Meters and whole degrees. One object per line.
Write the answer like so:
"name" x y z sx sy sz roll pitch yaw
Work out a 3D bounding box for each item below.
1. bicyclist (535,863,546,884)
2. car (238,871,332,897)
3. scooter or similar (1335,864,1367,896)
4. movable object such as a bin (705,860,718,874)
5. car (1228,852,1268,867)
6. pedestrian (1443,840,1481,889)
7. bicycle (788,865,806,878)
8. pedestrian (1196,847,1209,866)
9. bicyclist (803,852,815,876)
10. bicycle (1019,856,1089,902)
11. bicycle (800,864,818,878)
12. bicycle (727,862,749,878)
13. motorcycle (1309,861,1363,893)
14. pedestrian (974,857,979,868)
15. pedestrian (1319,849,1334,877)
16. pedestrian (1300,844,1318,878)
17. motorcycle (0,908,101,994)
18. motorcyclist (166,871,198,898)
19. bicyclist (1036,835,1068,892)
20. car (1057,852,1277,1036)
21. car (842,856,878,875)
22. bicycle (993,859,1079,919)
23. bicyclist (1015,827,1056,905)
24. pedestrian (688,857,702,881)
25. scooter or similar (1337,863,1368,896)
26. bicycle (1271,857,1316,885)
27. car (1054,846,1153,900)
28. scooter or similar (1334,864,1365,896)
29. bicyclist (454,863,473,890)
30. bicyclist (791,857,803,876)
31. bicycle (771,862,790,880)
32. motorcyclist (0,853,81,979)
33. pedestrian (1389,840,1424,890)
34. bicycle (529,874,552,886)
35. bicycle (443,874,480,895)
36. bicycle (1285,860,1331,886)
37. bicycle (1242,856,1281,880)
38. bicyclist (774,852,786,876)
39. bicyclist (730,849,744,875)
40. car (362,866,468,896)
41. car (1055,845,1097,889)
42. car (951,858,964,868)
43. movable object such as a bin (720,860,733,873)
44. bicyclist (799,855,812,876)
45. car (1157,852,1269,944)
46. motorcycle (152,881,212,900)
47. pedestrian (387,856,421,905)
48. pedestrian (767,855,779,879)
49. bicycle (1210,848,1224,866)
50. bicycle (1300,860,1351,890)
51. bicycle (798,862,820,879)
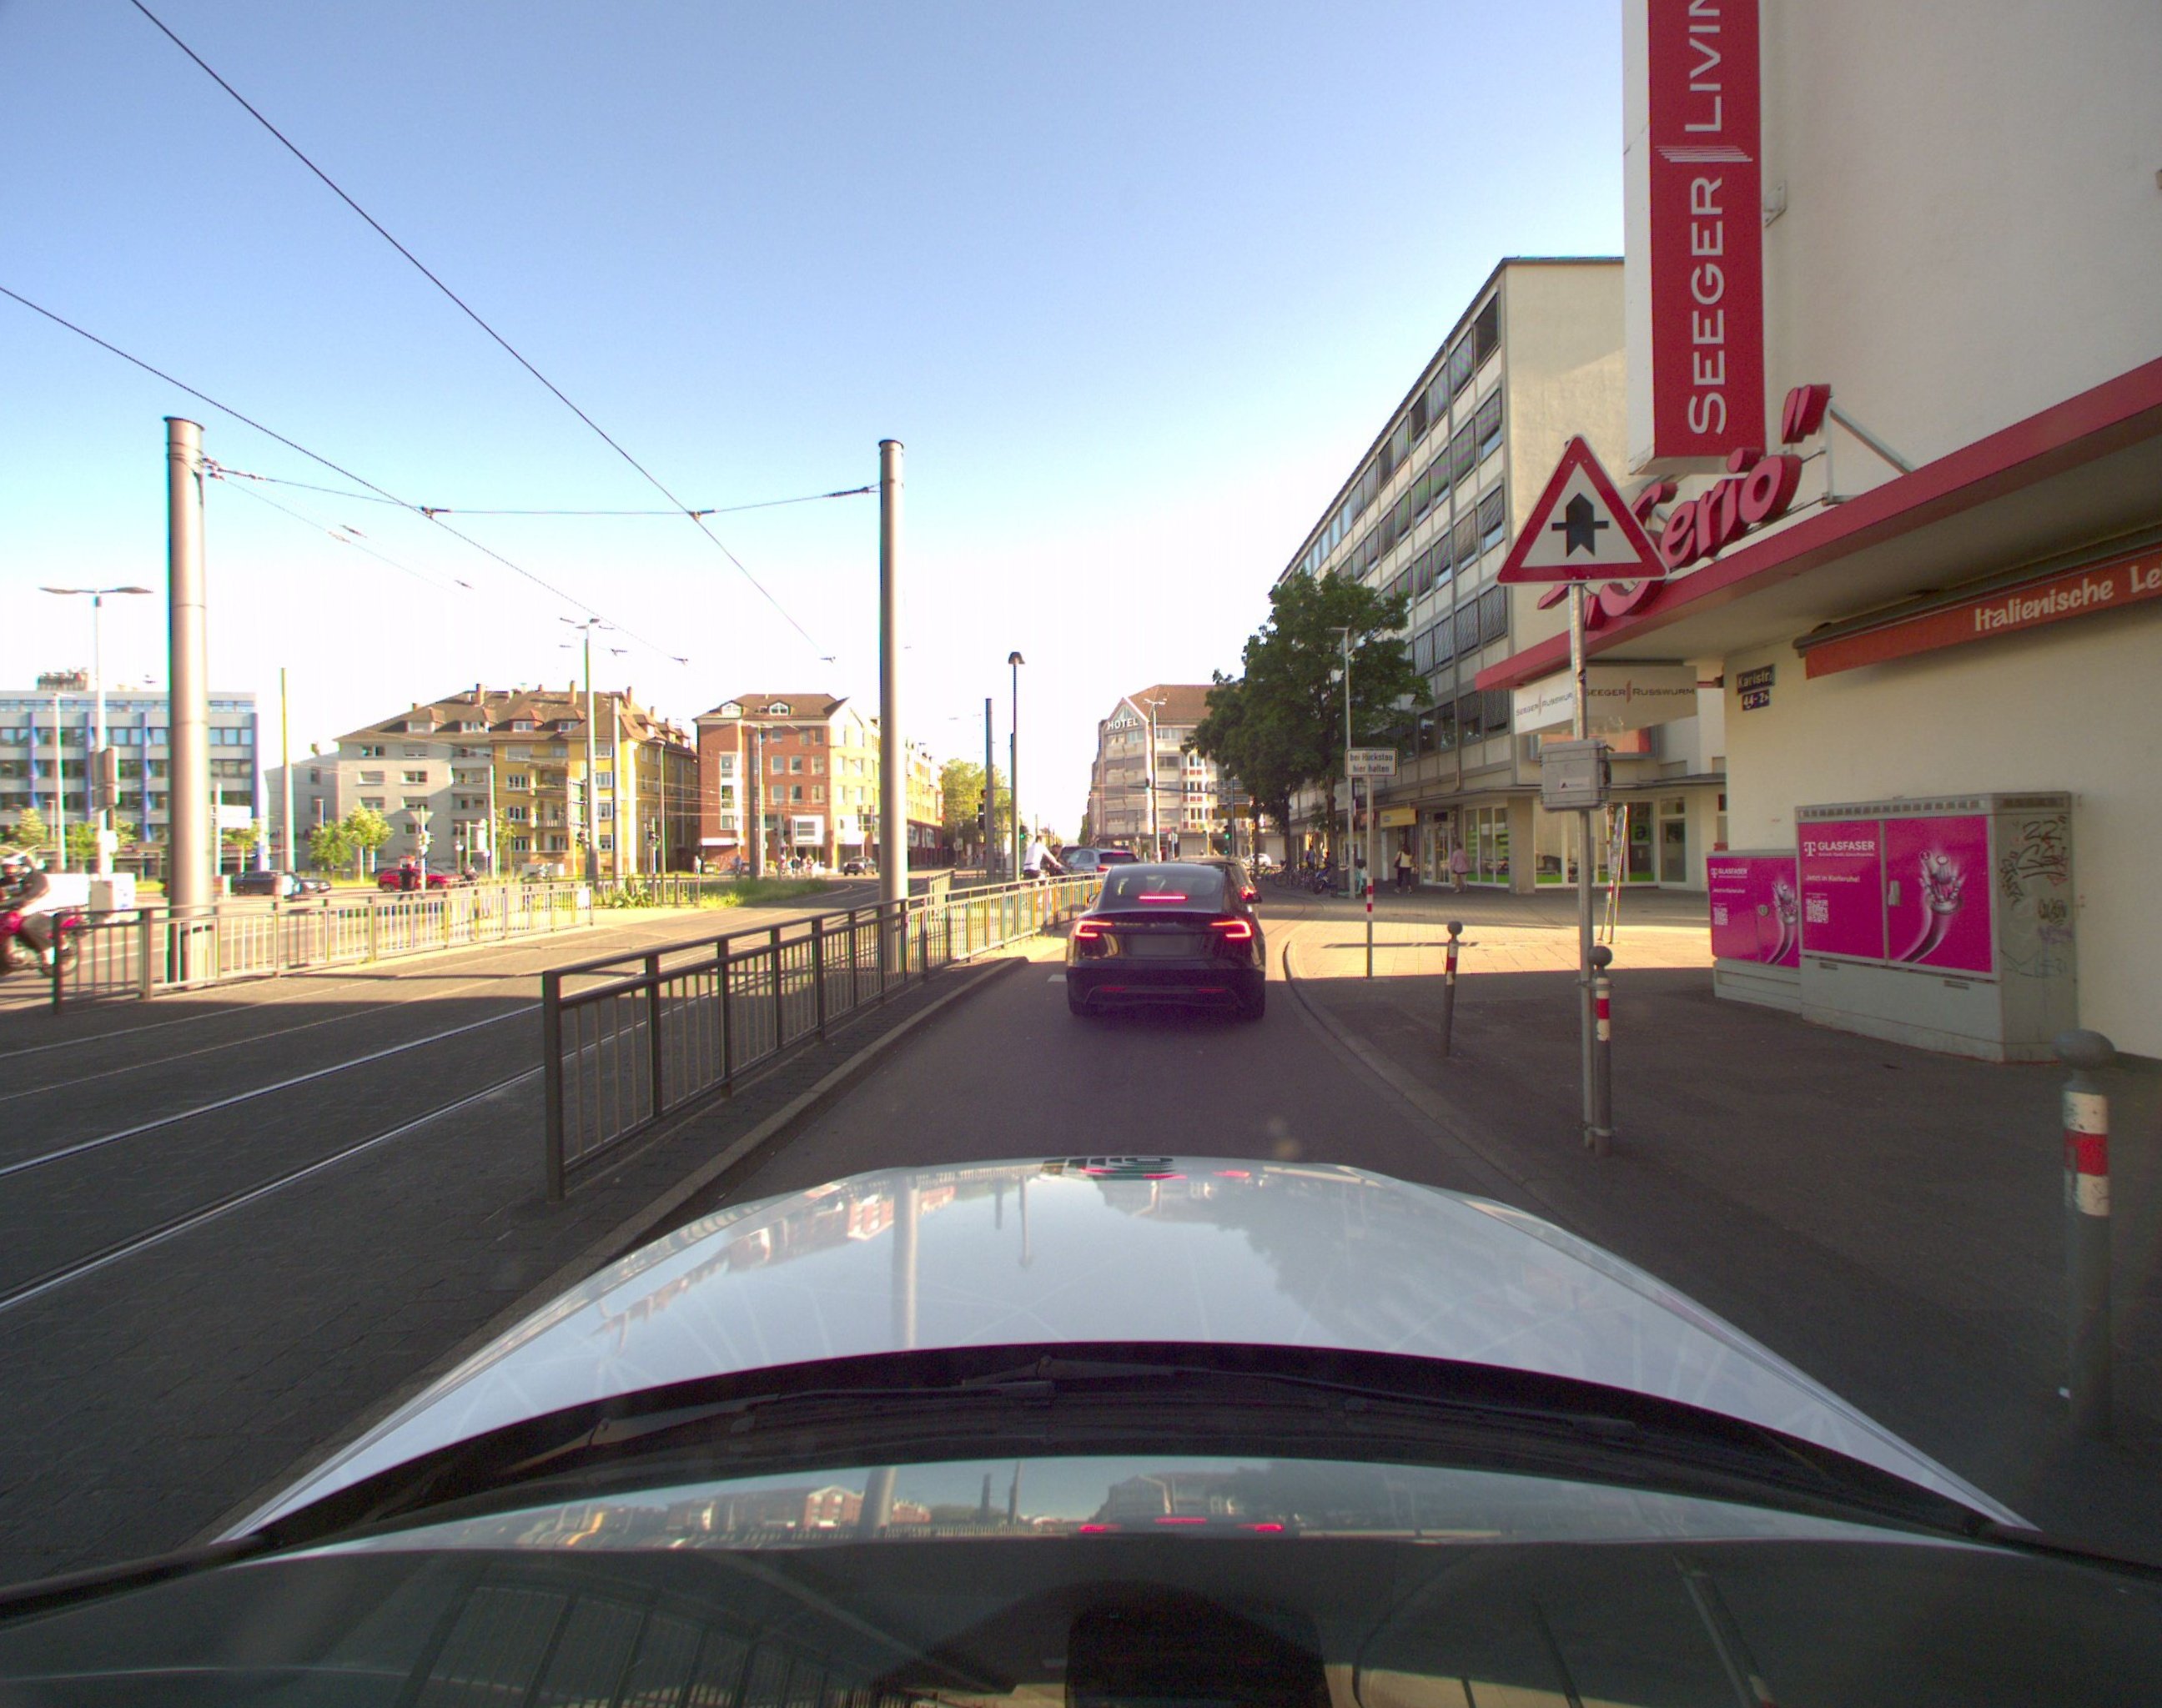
"bicyclist" -34.731 1.265 52.331 0.459 1.316 0.398 0 -1 -14
"car" -46.325 1.730 47.430 3.695 1.472 1.572 0 -1 -6
"scooter or similar" 8.956 0.857 27.014 0.952 1.039 0.160 -1 0 4
"movable object such as a bin" -39.808 1.383 87.665 0.995 1.437 1.093 0 -1 -8
"car" 17.629 0.564 86.183 3.832 1.432 1.801 -1 -2 -4
"pedestrian" 12.619 0.351 27.007 0.840 1.602 0.880 0 -1 1
"bicycle" -21.948 1.359 62.968 0.647 1.013 1.887 0 -1 4
"pedestrian" 10.155 0.225 67.957 0.780 1.576 0.864 0 1 -13
"bicyclist" -19.295 0.716 57.830 0.522 1.673 0.771 0 -1 4
"bicycle" -0.740 0.660 22.348 1.831 1.212 0.635 0 -1 -29
"bicycle" -19.291 1.199 57.822 0.527 1.013 1.899 0 -1 4
"bicycle" -22.376 1.053 53.081 0.527 1.013 1.887 0 -1 4
"motorcycle" 9.119 0.814 29.132 1.781 1.130 0.504 0 -1 -1
"pedestrian" -14.084 1.173 109.673 0.584 1.531 0.634 0 -1 -15
"pedestrian" 12.616 0.464 41.839 0.640 1.422 0.623 -1 -1 12
"pedestrian" 11.726 0.381 41.881 0.837 1.721 0.883 -1 -1 13
"motorcycle" -13.599 1.213 10.438 0.603 0.926 2.135 0 -1 -30
"motorcyclist" -51.763 1.746 46.887 0.919 1.524 0.781 0 -1 -5
"bicyclist" -0.796 0.264 22.325 0.685 1.523 0.629 0 -1 -29
"car" 0.924 0.724 8.605 1.781 1.450 3.947 0 1 7
"car" -17.937 0.921 66.378 1.678 1.560 4.124 0 -1 2
"bicycle" -0.954 0.727 17.477 1.834 1.212 0.576 0 -1 -37
"bicyclist" -0.975 0.257 17.472 0.686 1.631 0.572 0 -1 -37
"pedestrian" -28.391 1.102 59.905 0.619 1.688 0.709 0 1 19
"scooter or similar" 8.941 0.843 26.816 0.959 1.043 0.160 -1 0 4
"bicycle" 9.182 0.746 35.231 1.805 1.151 0.435 -1 -1 -3
"car" 0.655 0.585 26.333 1.848 1.635 3.457 0 -1 -25
"scooter or similar" 8.970 0.868 27.214 0.959 1.027 0.160 -1 0 4
"bicyclist" -34.856 1.252 45.965 0.615 1.493 0.607 0 -1 -12
"bicyclist" -21.943 0.943 62.992 0.661 1.454 0.731 0 -1 3
"bicycle" -21.293 1.213 57.732 0.527 1.214 1.887 0 -1 4
"motorcyclist" -13.616 0.772 10.478 0.656 1.558 0.876 0 -1 -29
"pedestrian" 11.248 0.375 28.177 0.840 1.707 0.880 0 -1 1
"bicycle" -34.754 1.686 52.333 1.174 0.764 0.318 0 -1 -15
"bicycle" -34.940 1.710 45.931 1.497 1.133 0.609 -2 0 -13
"bicycle" 9.262 0.773 33.247 1.758 1.057 0.459 0 -1 6
"bicycle" 9.391 0.718 42.348 1.882 1.156 0.480 -2 -1 2
"bicyclist" -21.306 0.680 57.604 0.518 1.673 0.771 0 -1 3
"bicyclist" -22.383 0.507 53.032 0.518 1.673 0.771 0 -1 3
"car" -39.481 1.578 48.351 4.548 1.509 1.777 -2 0 -9
"car" -0.176 0.506 32.465 1.568 1.618 3.782 0 -1 0
"car" -20.777 1.507 137.241 1.814 1.454 3.971 -2 0 -5
"movable object such as a bin" -38.278 1.365 87.923 0.995 1.437 1.093 0 -1 -8
"bicyclist" -21.905 0.878 64.763 0.583 1.649 0.810 -1 -1 18
"car" 2.358 0.690 15.215 1.755 1.444 4.537 0 0 7
"motorcycle" -51.744 2.097 46.890 2.355 0.984 0.790 0 -1 -6
"pedestrian" -26.780 1.040 32.216 0.716 1.934 0.802 -1 -1 22
"pedestrian" -25.896 1.068 68.445 0.592 2.014 0.831 0 -1 4
"bicycle" 11.347 0.221 67.966 0.583 1.463 1.678 -1 0 -13
"bicycle" 9.381 0.798 31.207 1.850 1.056 0.398 -2 0 -10
"bicycle" -21.765 1.297 65.173 0.569 1.291 2.036 -1 -1 18
